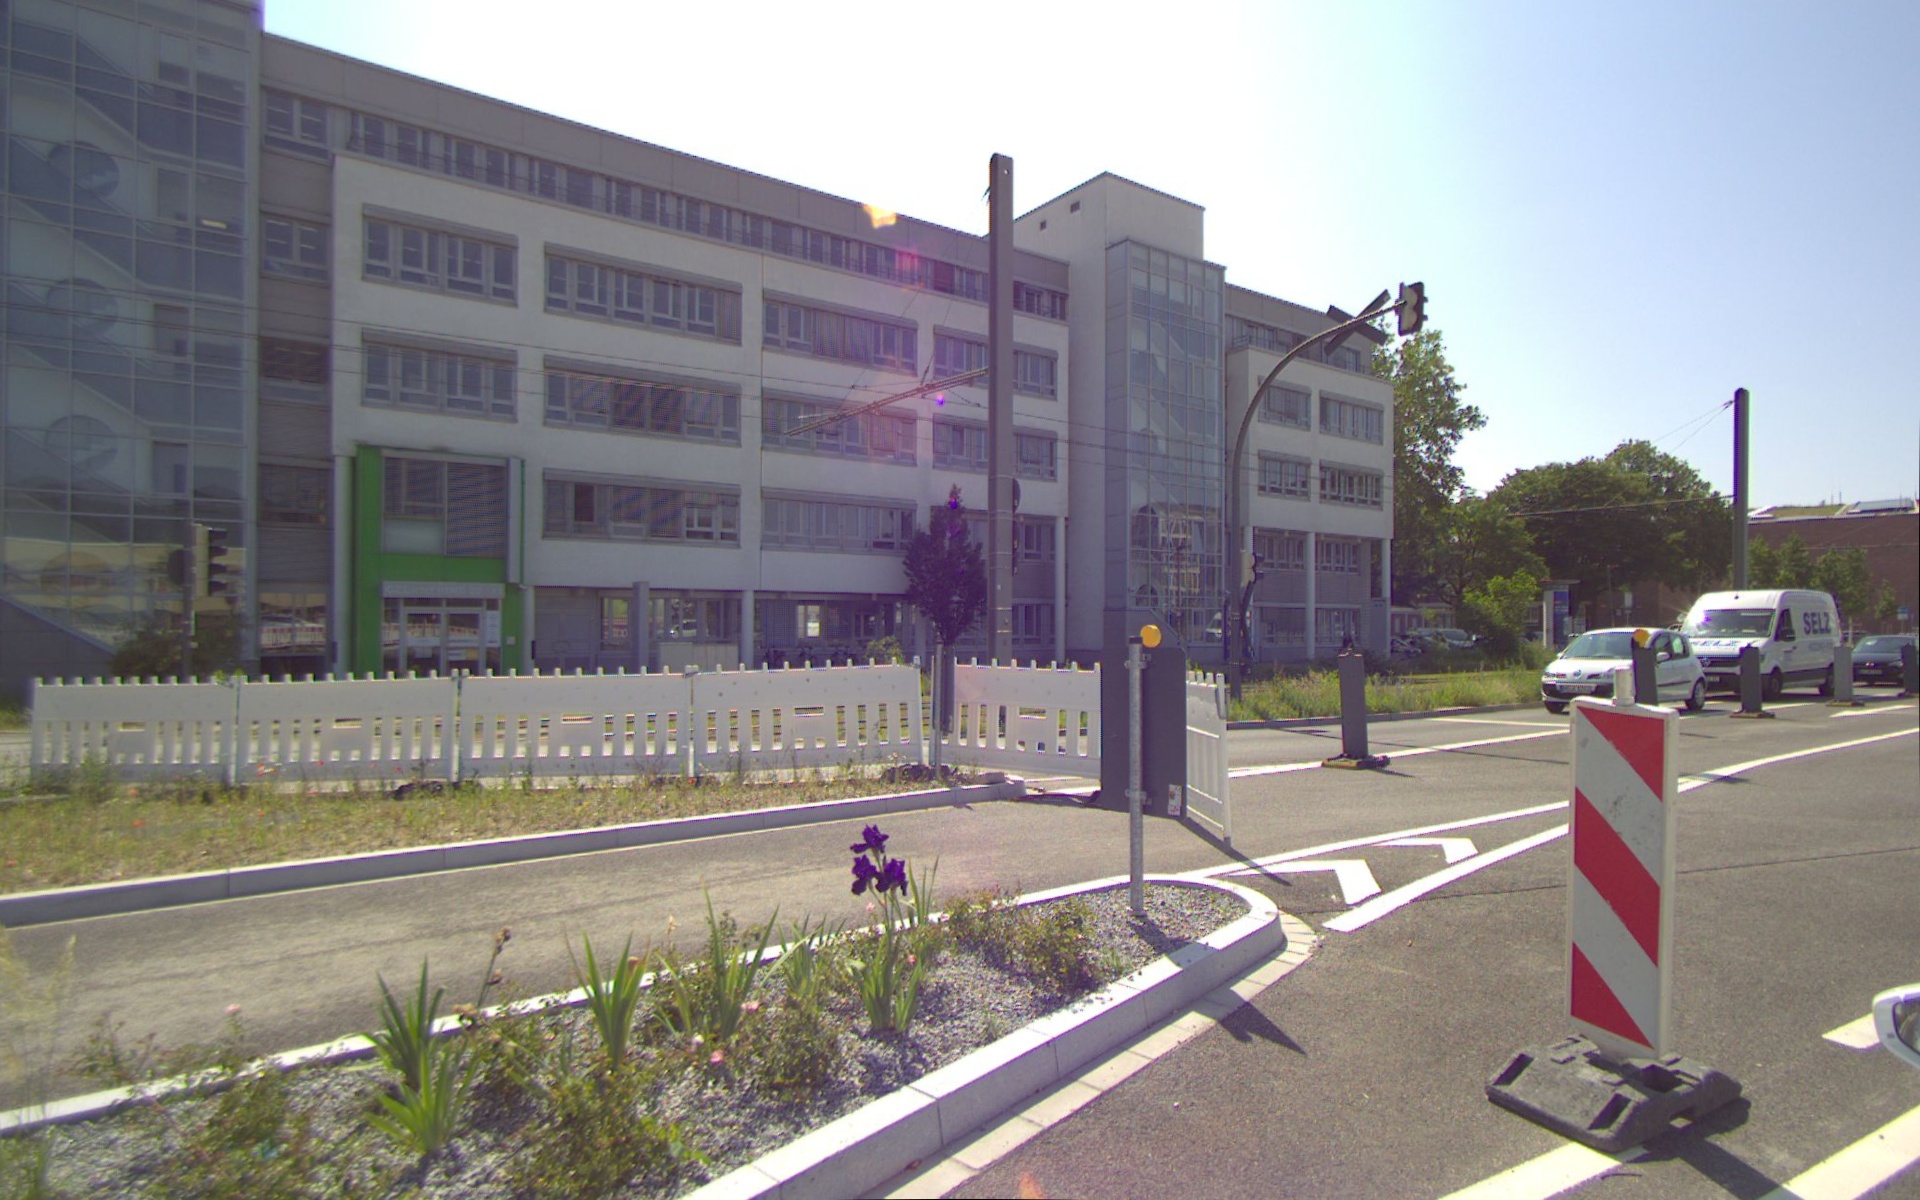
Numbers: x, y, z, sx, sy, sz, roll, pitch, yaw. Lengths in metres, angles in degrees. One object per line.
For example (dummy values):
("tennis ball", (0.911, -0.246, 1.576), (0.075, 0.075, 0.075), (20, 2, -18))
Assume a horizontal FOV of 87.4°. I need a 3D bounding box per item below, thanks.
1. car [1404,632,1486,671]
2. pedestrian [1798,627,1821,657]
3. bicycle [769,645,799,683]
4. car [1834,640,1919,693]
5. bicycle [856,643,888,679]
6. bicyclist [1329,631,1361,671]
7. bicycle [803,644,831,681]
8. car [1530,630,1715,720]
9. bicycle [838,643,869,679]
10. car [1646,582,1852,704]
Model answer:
("car", (29.531, 3.090, 61.314), (2.075, 2.208, 5.070), (1, -1, -7))
("pedestrian", (60.488, 2.976, 71.546), (0.900, 2.040, 0.978), (1, 0, -32))
("bicycle", (-6.140, 2.221, 35.037), (0.515, 1.205, 1.639), (1, 1, -29))
("car", (27.618, 1.937, 29.797), (4.150, 1.476, 1.536), (2, -4, -35))
("bicycle", (-3.285, 2.248, 37.272), (0.433, 1.205, 1.636), (1, 1, -34))
("bicyclist", (15.736, 2.077, 41.060), (1.066, 1.560, 0.749), (2, -1, -34))
("bicycle", (-5.140, 2.232, 36.071), (0.433, 1.205, 1.639), (1, 1, -28))
("car", (12.725, 1.403, 19.237), (3.938, 1.561, 1.571), (2, -4, -35))
("bicycle", (-3.928, 2.223, 36.882), (0.433, 1.205, 1.637), (1, 1, -33))
("car", (19.014, 1.070, 24.107), (6.129, 2.612, 2.019), (2, -4, -34))
